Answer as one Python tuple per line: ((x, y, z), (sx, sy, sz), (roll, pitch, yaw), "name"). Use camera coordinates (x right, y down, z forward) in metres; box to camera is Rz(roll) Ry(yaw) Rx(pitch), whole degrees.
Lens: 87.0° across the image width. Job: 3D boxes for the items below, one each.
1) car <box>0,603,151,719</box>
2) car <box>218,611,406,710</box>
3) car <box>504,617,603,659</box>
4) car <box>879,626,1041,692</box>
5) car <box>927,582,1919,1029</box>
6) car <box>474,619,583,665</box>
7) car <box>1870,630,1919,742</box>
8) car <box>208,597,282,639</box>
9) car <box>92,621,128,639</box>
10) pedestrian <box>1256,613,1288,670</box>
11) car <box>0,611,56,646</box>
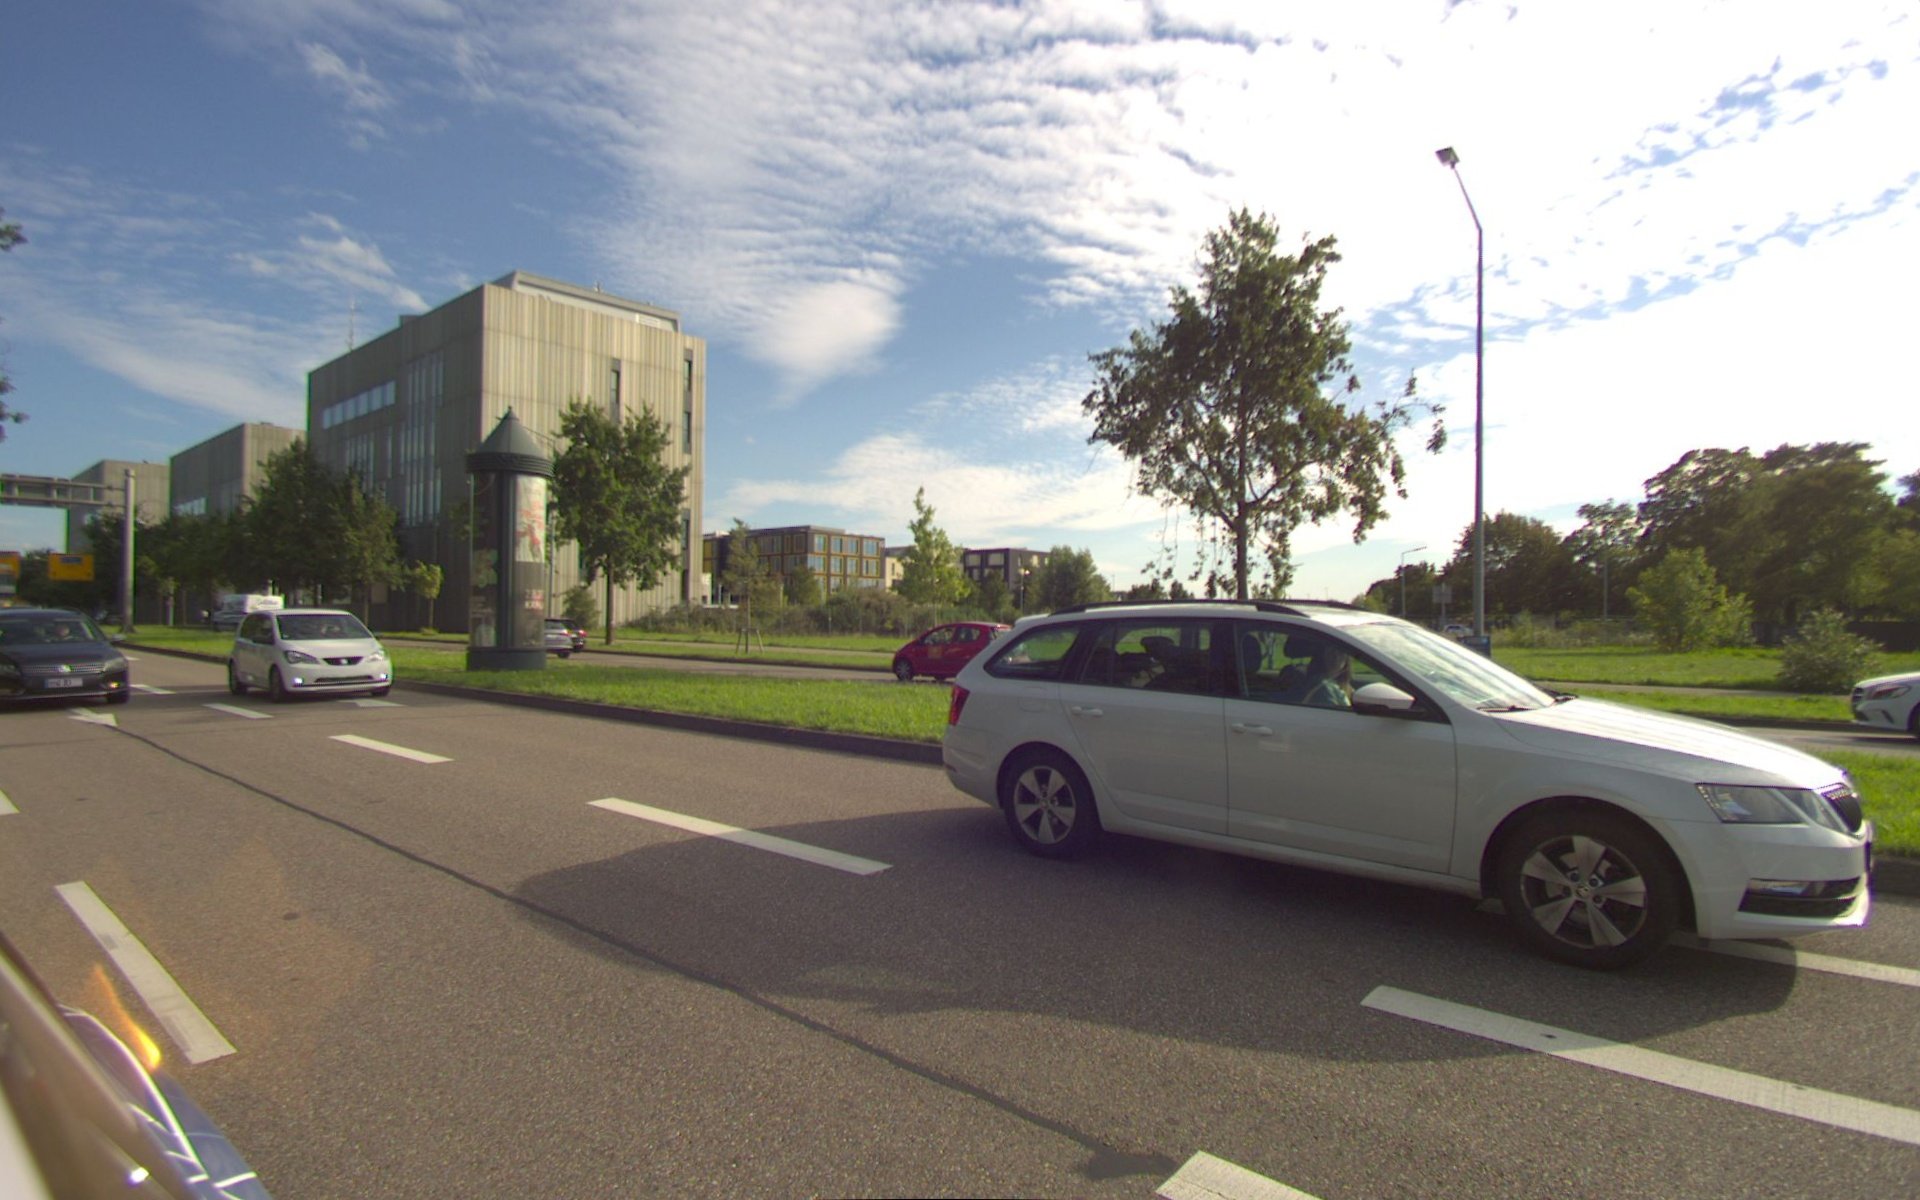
((-14.635, 0.875, 16.140), (4.844, 1.578, 1.972), (-1, 0, 42), "car")
((-10.932, 0.933, 16.985), (3.658, 1.475, 1.743), (-1, -1, 42), "car")
((-16.279, 1.493, 40.475), (4.453, 1.584, 1.831), (-1, -4, 42), "car")
((-0.025, 1.348, 23.997), (3.584, 1.445, 1.665), (-1, -2, 37), "car")
((2.127, 0.696, 5.426), (4.637, 1.456, 1.831), (-1, -1, 42), "car")
((-14.845, 1.422, 34.748), (4.066, 1.445, 1.831), (-1, -4, 41), "car")
((14.229, 1.121, 12.731), (3.989, 1.445, 1.664), (-1, -2, 38), "car")
((-40.732, 1.034, 57.609), (5.536, 2.272, 2.006), (-1, -3, 40), "car")
((-74.842, 2.648, 89.107), (4.453, 1.475, 1.831), (-1, -1, 42), "car")
((9.187, 1.221, 29.789), (0.658, 1.642, 0.620), (-2, -1, 44), "pedestrian")
((-40.148, 1.186, 43.215), (4.445, 1.431, 1.799), (-1, -1, 41), "car")
